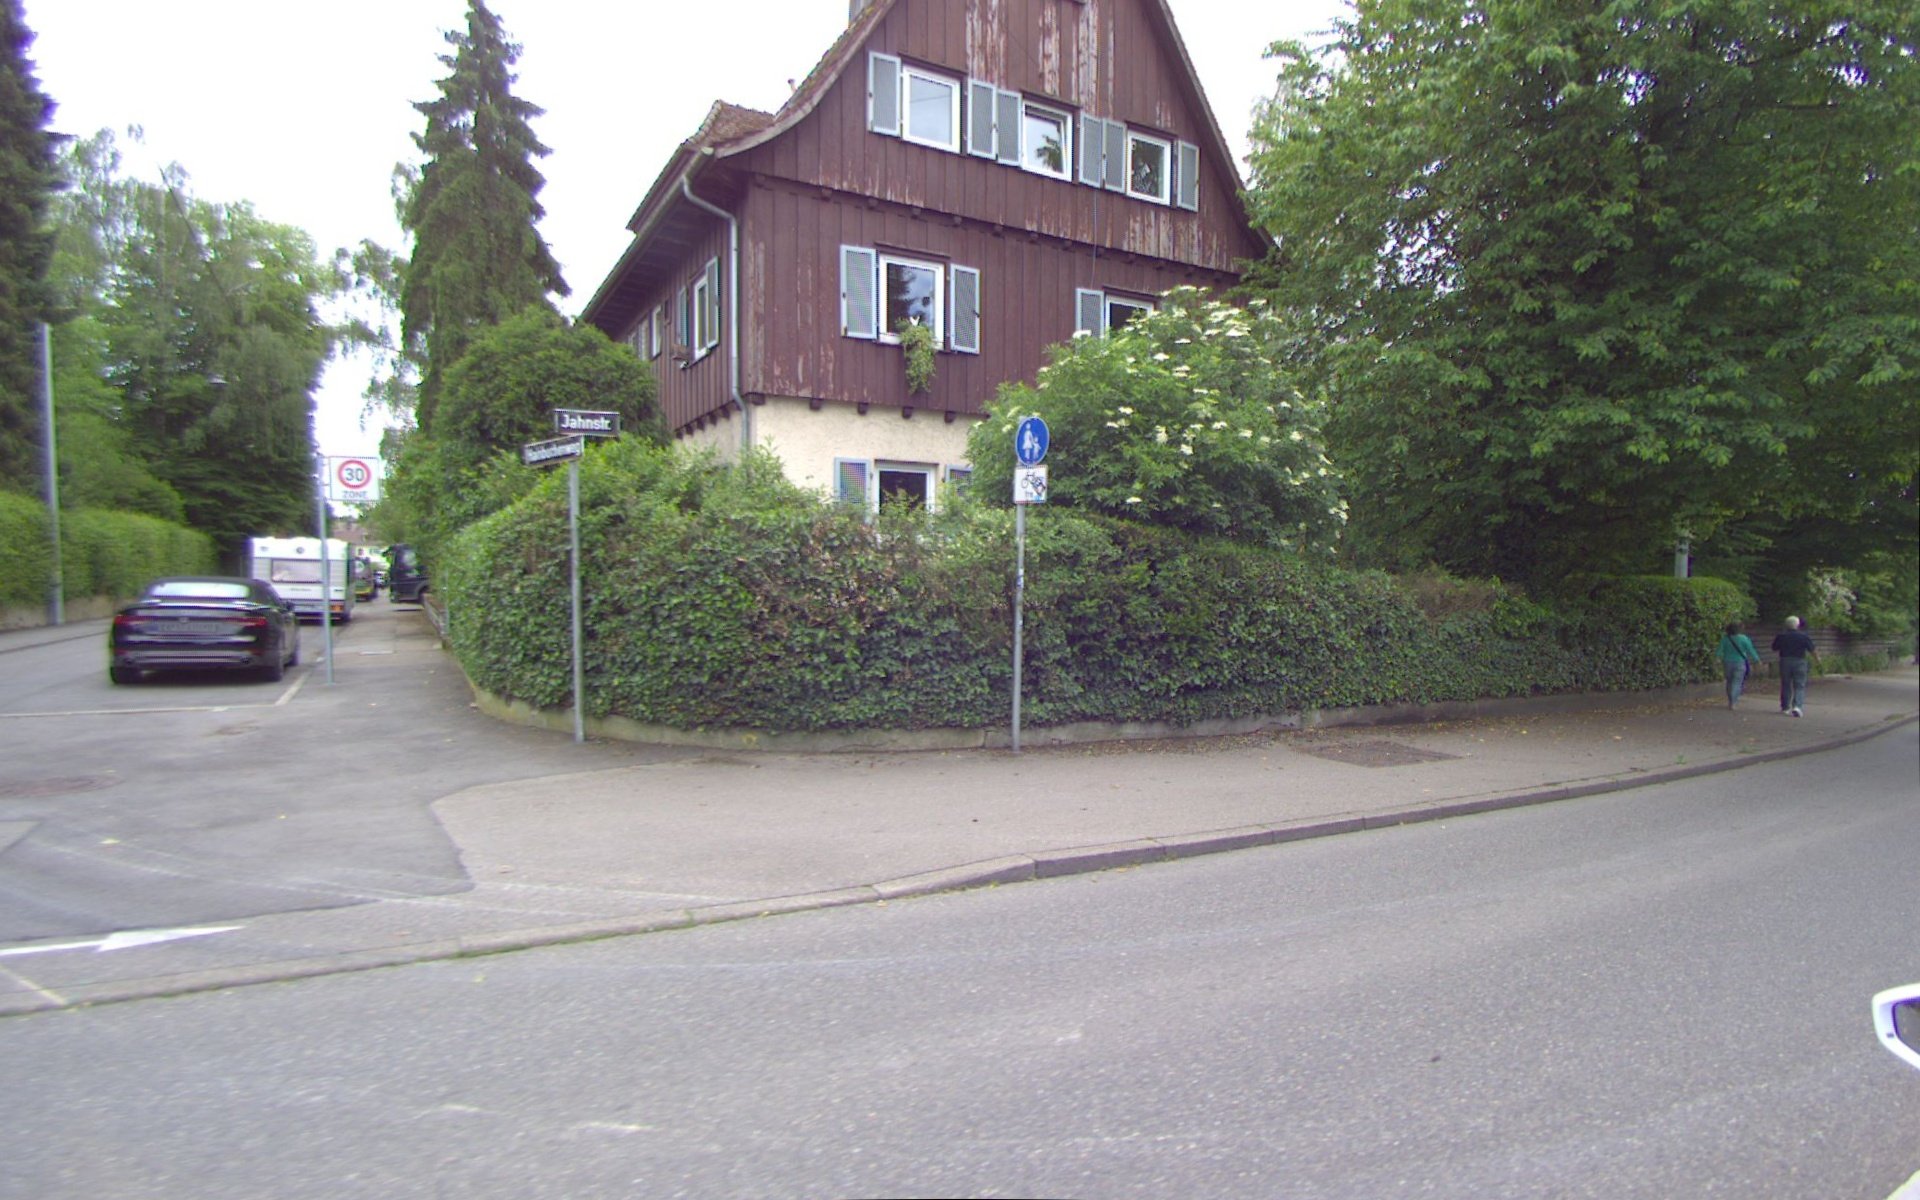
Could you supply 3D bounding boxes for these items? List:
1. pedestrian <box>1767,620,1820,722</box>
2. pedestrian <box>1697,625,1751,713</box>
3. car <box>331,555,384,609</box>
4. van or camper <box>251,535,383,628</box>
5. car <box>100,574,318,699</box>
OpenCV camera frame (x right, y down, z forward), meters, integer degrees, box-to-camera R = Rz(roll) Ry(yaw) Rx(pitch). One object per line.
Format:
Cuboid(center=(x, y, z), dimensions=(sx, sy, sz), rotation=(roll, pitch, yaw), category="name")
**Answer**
Cuboid(center=(14.376, 1.207, 17.344), dimensions=(0.621, 1.684, 0.916), rotation=(2, 0, 38), category="pedestrian")
Cuboid(center=(13.606, 1.205, 17.898), dimensions=(0.661, 1.468, 0.754), rotation=(5, 2, 38), category="pedestrian")
Cuboid(center=(-31.377, -0.925, 52.435), dimensions=(1.863, 2.600, 4.731), rotation=(2, 0, -26), category="car")
Cuboid(center=(-18.977, -0.526, 29.960), dimensions=(2.704, 2.455, 5.611), rotation=(2, 0, -27), category="van or camper")
Cuboid(center=(-10.655, 0.422, 14.613), dimensions=(1.865, 1.434, 4.725), rotation=(2, 1, -29), category="car")
